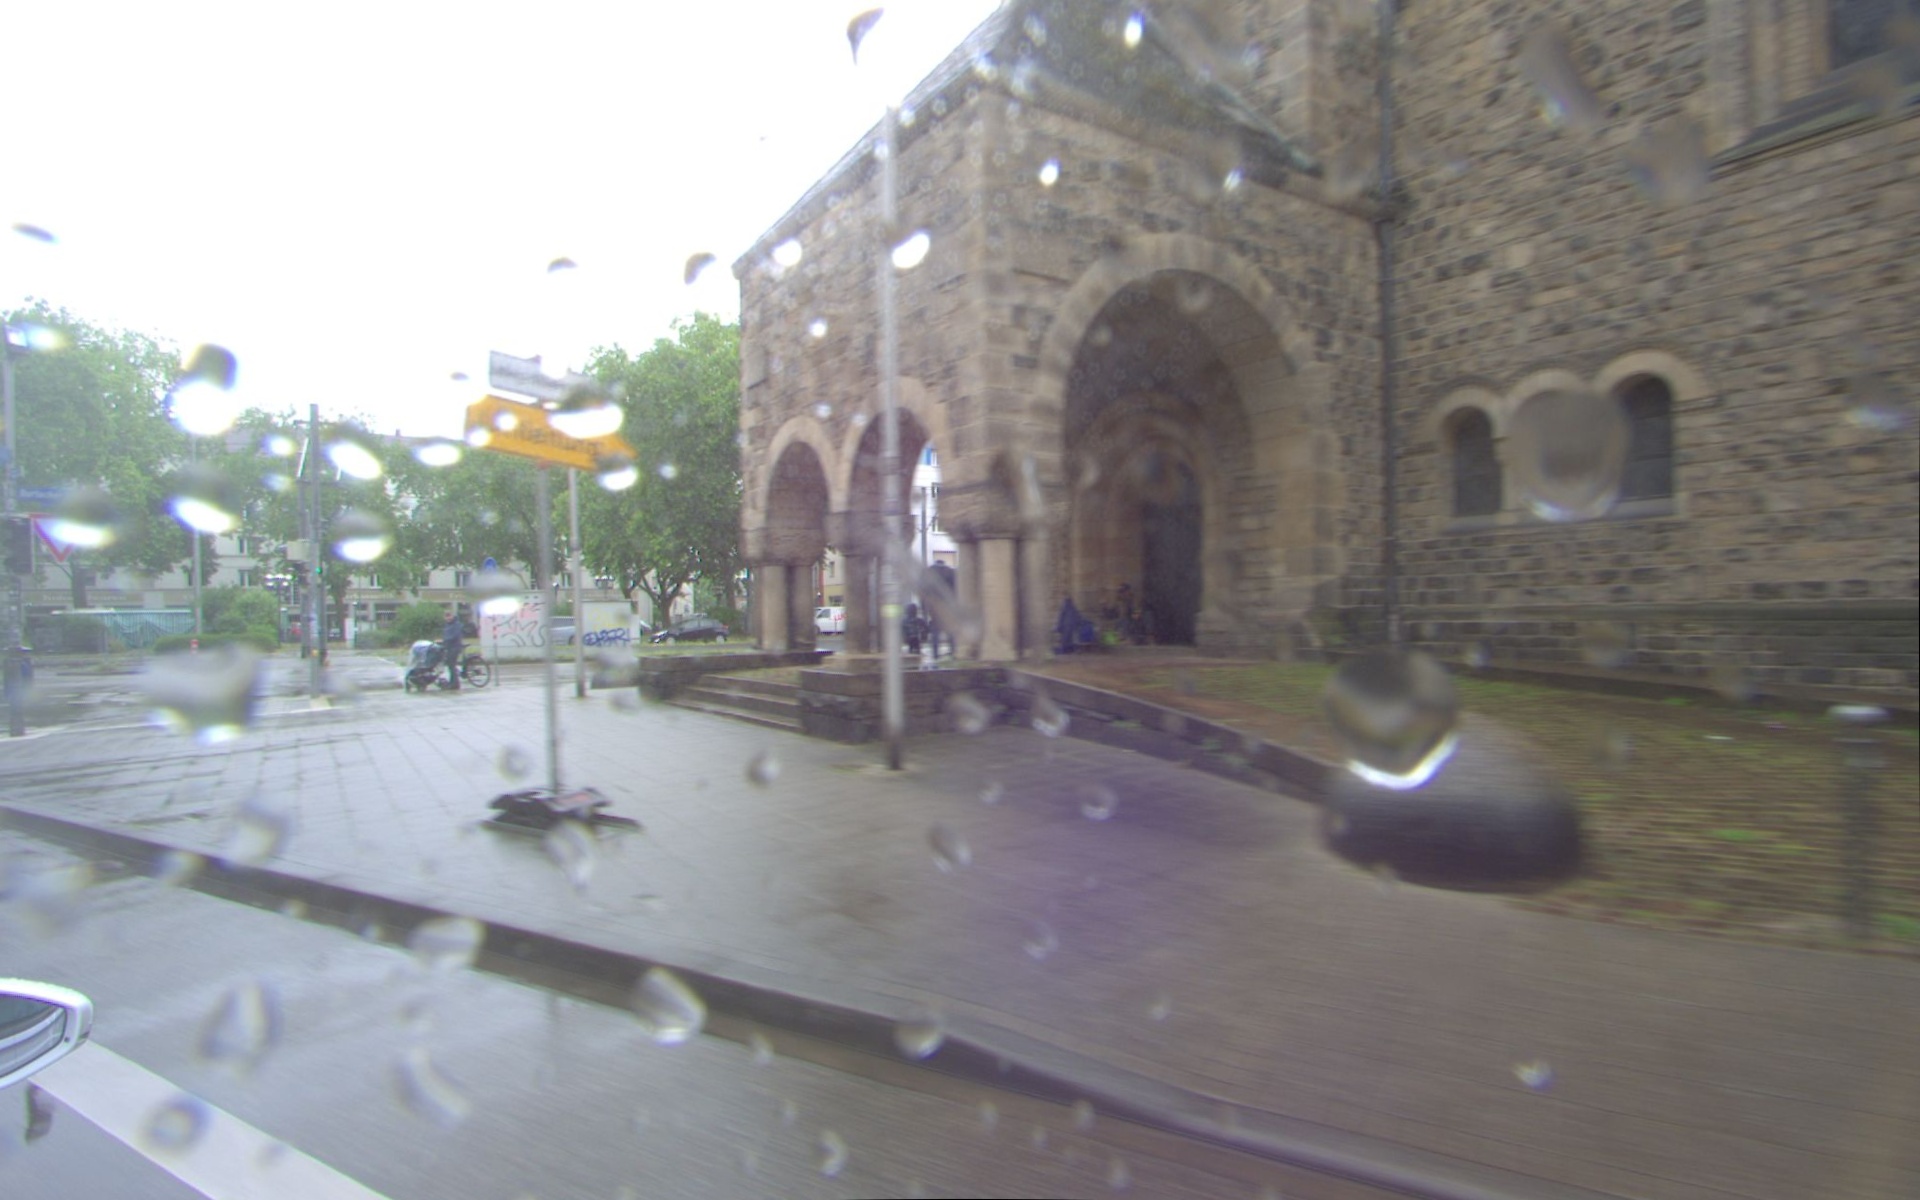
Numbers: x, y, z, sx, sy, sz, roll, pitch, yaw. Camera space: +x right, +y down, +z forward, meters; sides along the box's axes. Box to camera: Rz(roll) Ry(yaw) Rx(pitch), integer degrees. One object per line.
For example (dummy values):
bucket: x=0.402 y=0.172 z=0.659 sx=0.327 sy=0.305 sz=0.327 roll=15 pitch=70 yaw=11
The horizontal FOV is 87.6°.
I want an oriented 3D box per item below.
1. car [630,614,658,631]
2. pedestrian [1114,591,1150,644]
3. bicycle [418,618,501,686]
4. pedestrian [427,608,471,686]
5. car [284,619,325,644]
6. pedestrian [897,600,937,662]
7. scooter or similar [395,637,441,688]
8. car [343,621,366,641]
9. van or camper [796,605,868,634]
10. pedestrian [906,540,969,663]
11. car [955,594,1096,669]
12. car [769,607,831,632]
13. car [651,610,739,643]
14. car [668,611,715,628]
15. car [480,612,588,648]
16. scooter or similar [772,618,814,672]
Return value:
car: x=-30.904 y=2.195 z=97.762 sx=1.693 sy=1.638 sz=3.978 roll=1 pitch=-2 yaw=-32
pedestrian: x=2.927 y=0.294 z=17.033 sx=0.391 sy=0.896 sz=0.453 roll=-1 pitch=0 yaw=-35
bicycle: x=-11.251 y=1.152 z=22.488 sx=1.907 sy=1.486 sz=0.532 roll=-1 pitch=0 yaw=23
pedestrian: x=-11.261 y=1.012 z=22.051 sx=0.680 sy=1.685 sz=0.601 roll=0 pitch=1 yaw=35
car: x=-43.060 y=2.051 z=65.728 sx=1.651 sy=1.541 sz=3.645 roll=-1 pitch=-1 yaw=-42
pedestrian: x=-0.635 y=0.458 z=14.800 sx=0.451 sy=0.896 sz=0.393 roll=-1 pitch=0 yaw=-38
scooter or similar: x=-11.761 y=1.348 z=21.728 sx=0.912 sy=1.062 sz=0.511 roll=0 pitch=0 yaw=35
car: x=-50.882 y=2.597 z=84.109 sx=1.533 sy=1.485 sz=3.349 roll=-1 pitch=-3 yaw=-33
van or camper: x=-8.908 y=1.314 z=69.935 sx=4.615 sy=1.940 sz=1.985 roll=0 pitch=0 yaw=-38
pedestrian: x=-0.325 y=0.029 z=14.472 sx=0.626 sy=1.725 sz=0.673 roll=-1 pitch=0 yaw=-38
car: x=1.484 y=0.790 z=23.879 sx=1.712 sy=1.593 sz=3.343 roll=-1 pitch=-4 yaw=-31
car: x=-11.864 y=1.433 z=74.390 sx=4.210 sy=1.802 sz=1.725 roll=-1 pitch=0 yaw=-38
car: x=-13.922 y=1.375 z=52.616 sx=4.125 sy=1.621 sz=1.766 roll=0 pitch=0 yaw=-35
car: x=-25.207 y=1.862 z=94.145 sx=3.945 sy=1.471 sz=1.667 roll=-1 pitch=0 yaw=-33
car: x=-20.400 y=1.393 z=48.051 sx=4.496 sy=1.621 sz=1.780 roll=0 pitch=0 yaw=-35
scooter or similar: x=-4.485 y=1.189 z=26.924 sx=1.089 sy=1.405 sz=0.284 roll=-1 pitch=1 yaw=-36
